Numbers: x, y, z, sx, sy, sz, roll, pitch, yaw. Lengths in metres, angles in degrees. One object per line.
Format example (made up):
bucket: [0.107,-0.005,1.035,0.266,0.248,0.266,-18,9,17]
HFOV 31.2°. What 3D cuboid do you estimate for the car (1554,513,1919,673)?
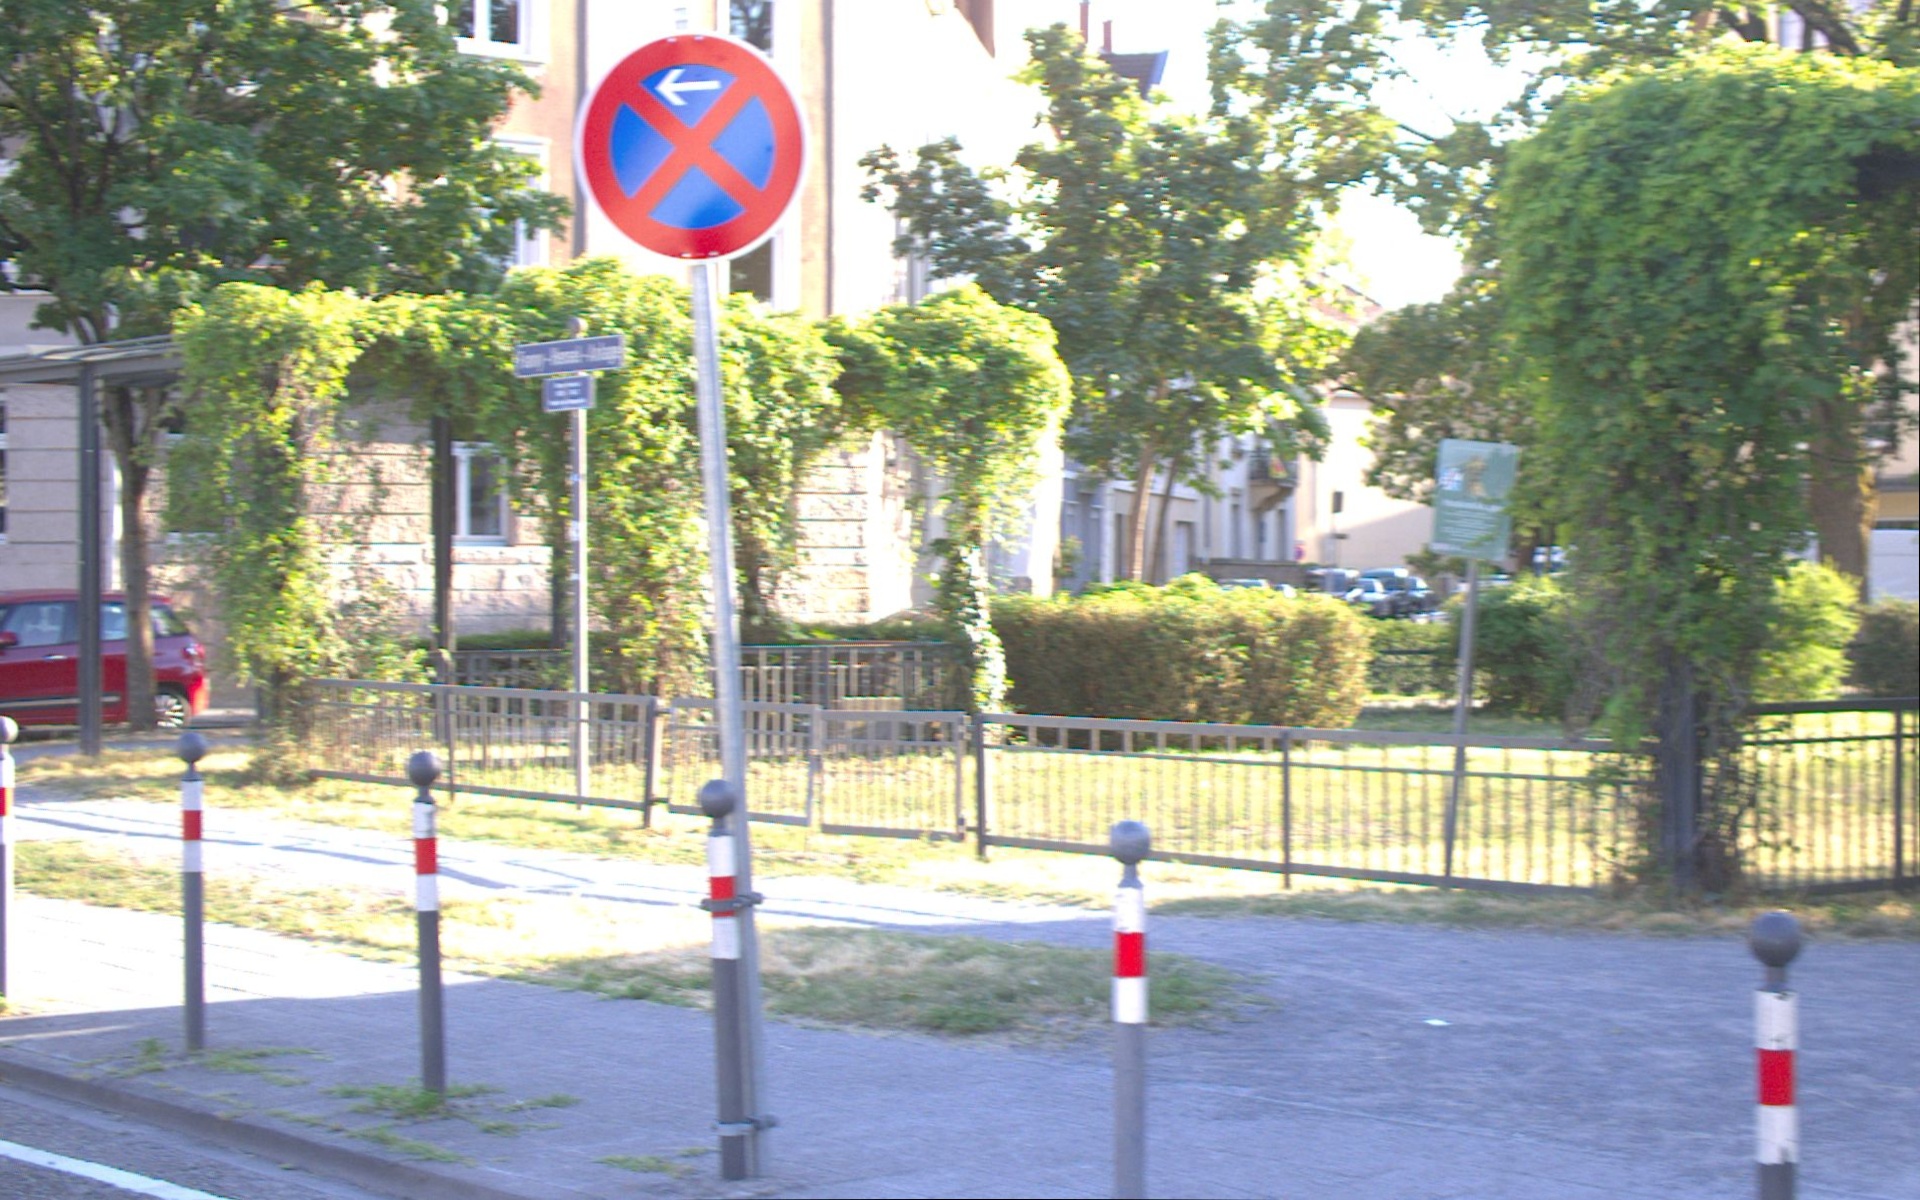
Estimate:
car: [14.068,-0.138,60.774,6.675,2.735,2.315,0,0,23]

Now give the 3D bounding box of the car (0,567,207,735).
car: [-10.502,0.532,37.465,4.075,1.735,1.811,0,2,-37]

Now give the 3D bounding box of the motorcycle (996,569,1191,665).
motorcycle: [2.101,0.288,54.605,3.227,1.482,0.851,-1,-1,40]
